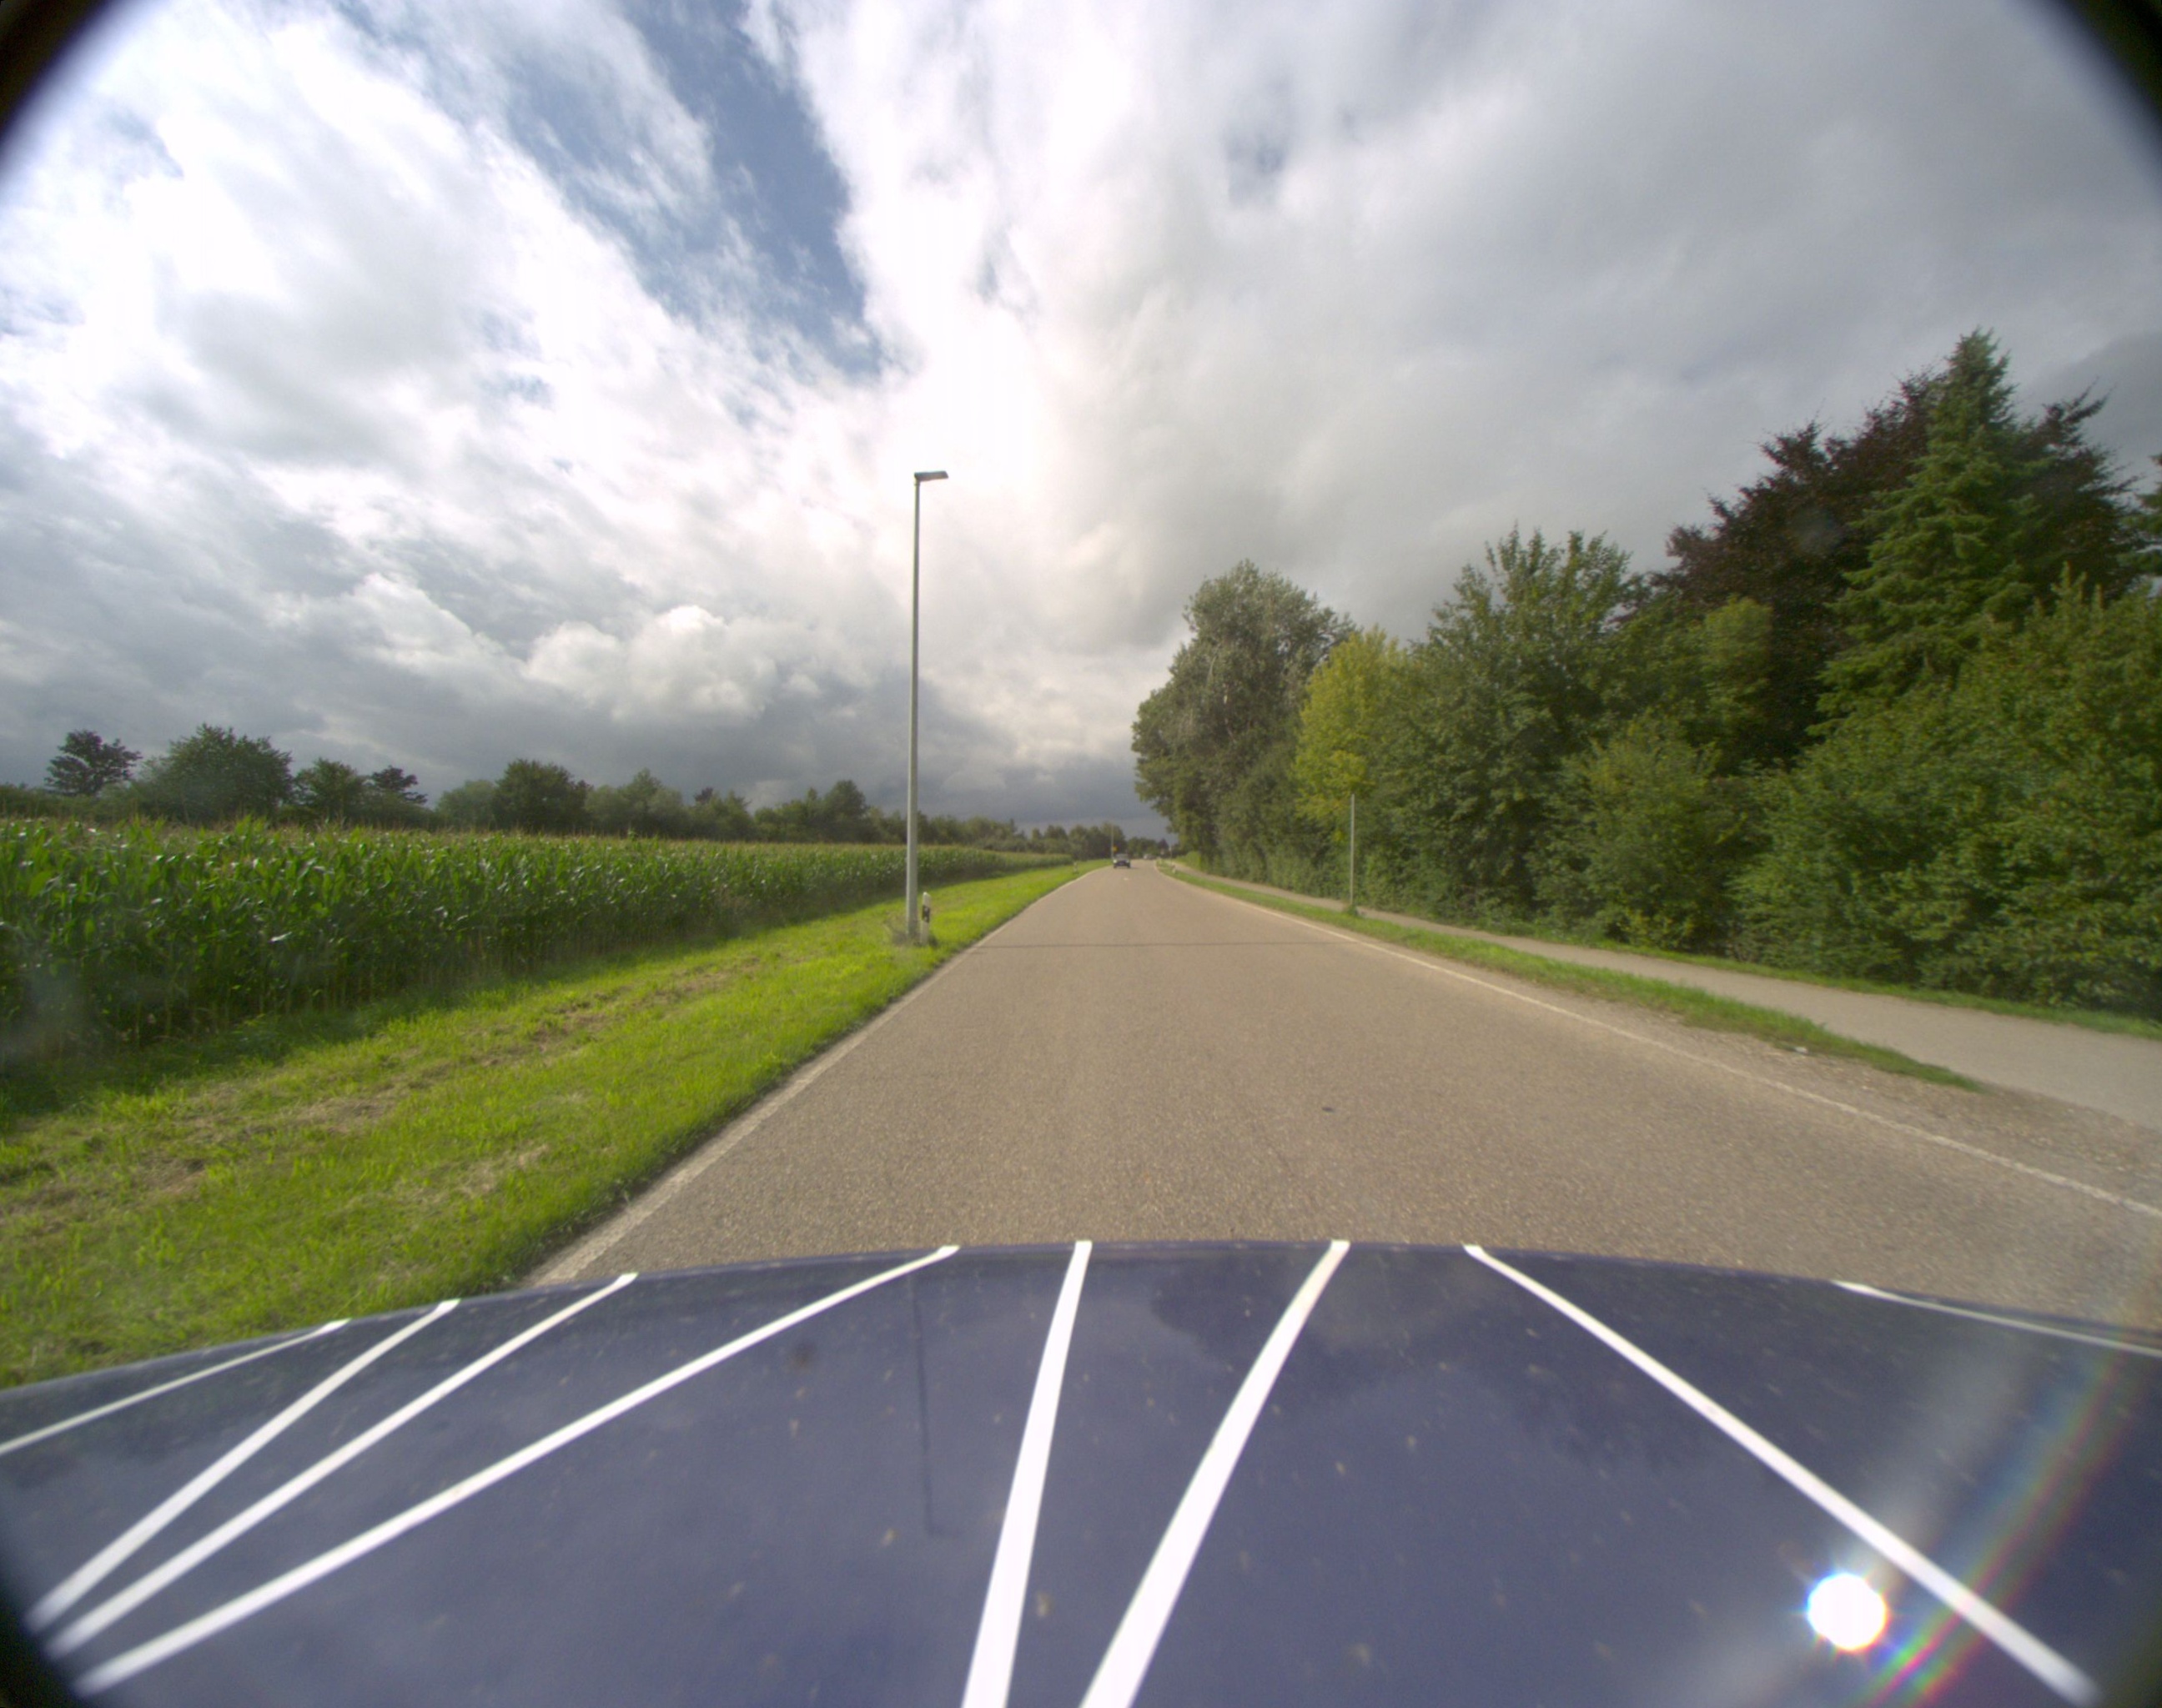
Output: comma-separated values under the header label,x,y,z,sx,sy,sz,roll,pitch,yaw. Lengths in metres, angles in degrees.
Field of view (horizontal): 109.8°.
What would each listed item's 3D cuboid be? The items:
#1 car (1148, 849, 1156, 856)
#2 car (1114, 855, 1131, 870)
label,x,y,z,sx,sy,sz,roll,pitch,yaw
car,17.502,-0.403,187.701,1.814,1.641,4.294,2,1,6
car,4.809,0.946,88.280,1.998,1.594,4.001,-1,0,3
